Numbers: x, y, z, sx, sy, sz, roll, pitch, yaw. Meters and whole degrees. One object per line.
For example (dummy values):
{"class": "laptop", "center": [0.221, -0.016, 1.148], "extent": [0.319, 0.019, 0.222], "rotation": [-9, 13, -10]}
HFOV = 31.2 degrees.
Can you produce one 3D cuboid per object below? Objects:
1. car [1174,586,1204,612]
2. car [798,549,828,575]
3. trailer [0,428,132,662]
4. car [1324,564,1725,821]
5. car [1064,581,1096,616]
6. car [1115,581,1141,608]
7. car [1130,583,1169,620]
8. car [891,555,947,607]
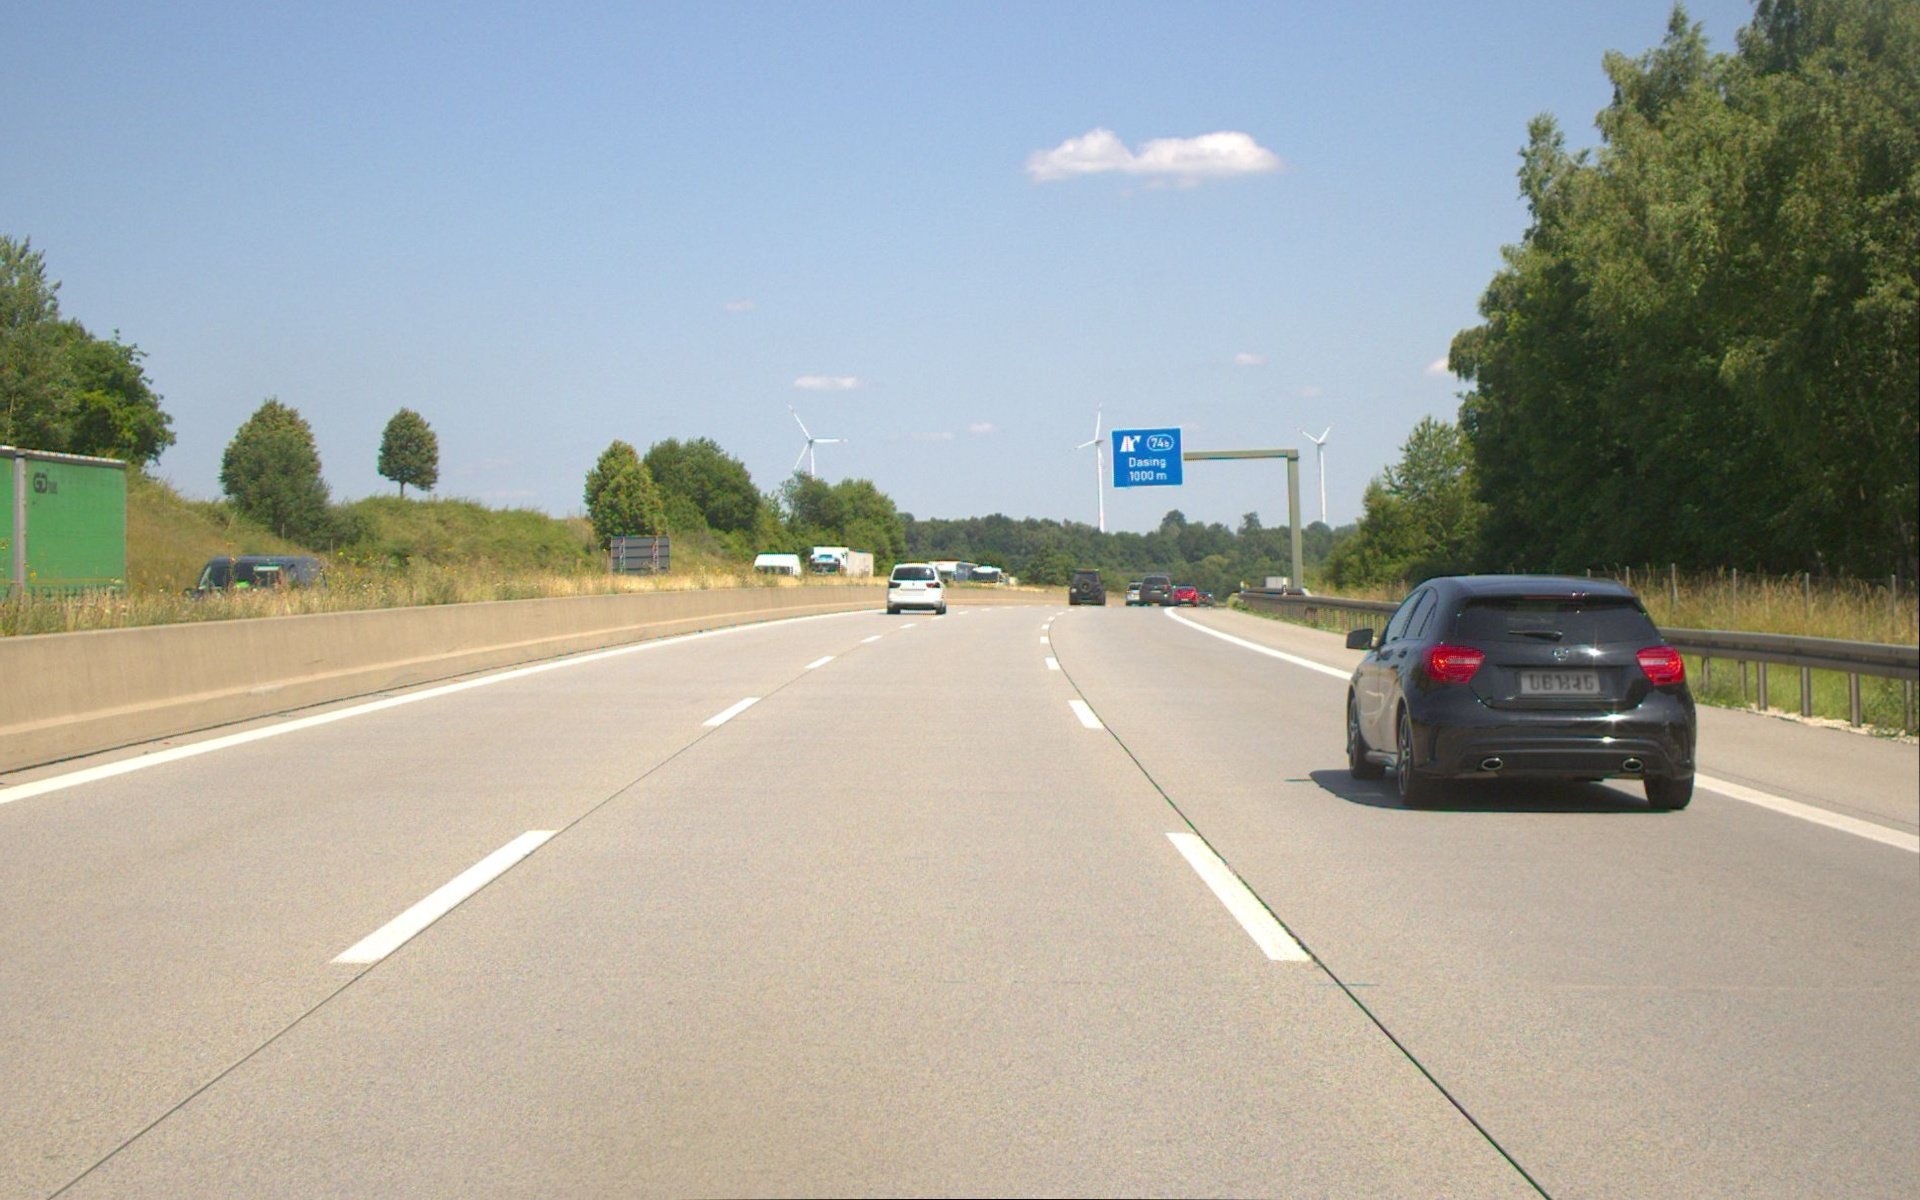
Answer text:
{"class": "car", "center": [16.508, -0.090, 248.156], "extent": [1.788, 1.804, 3.746], "rotation": [0, 1, -1]}
{"class": "car", "center": [-10.444, -2.675, 244.198], "extent": [1.863, 1.809, 4.000], "rotation": [0, 1, 1]}
{"class": "trailer", "center": [-20.353, -1.097, 69.101], "extent": [3.156, 4.592, 16.437], "rotation": [0, 1, 1]}
{"class": "car", "center": [3.560, 0.525, 22.435], "extent": [1.910, 1.487, 4.192], "rotation": [1, 1, 0]}
{"class": "car", "center": [6.881, -0.091, 197.454], "extent": [1.827, 1.931, 3.809], "rotation": [0, 1, 1]}
{"class": "car", "center": [12.616, -0.401, 258.847], "extent": [1.744, 1.983, 4.000], "rotation": [0, 1, 0]}
{"class": "car", "center": [10.193, 0.068, 185.085], "extent": [1.827, 1.900, 4.000], "rotation": [0, 1, 0]}
{"class": "car", "center": [-1.382, -0.649, 116.324], "extent": [1.845, 1.702, 6.036], "rotation": [0, 1, 0]}
